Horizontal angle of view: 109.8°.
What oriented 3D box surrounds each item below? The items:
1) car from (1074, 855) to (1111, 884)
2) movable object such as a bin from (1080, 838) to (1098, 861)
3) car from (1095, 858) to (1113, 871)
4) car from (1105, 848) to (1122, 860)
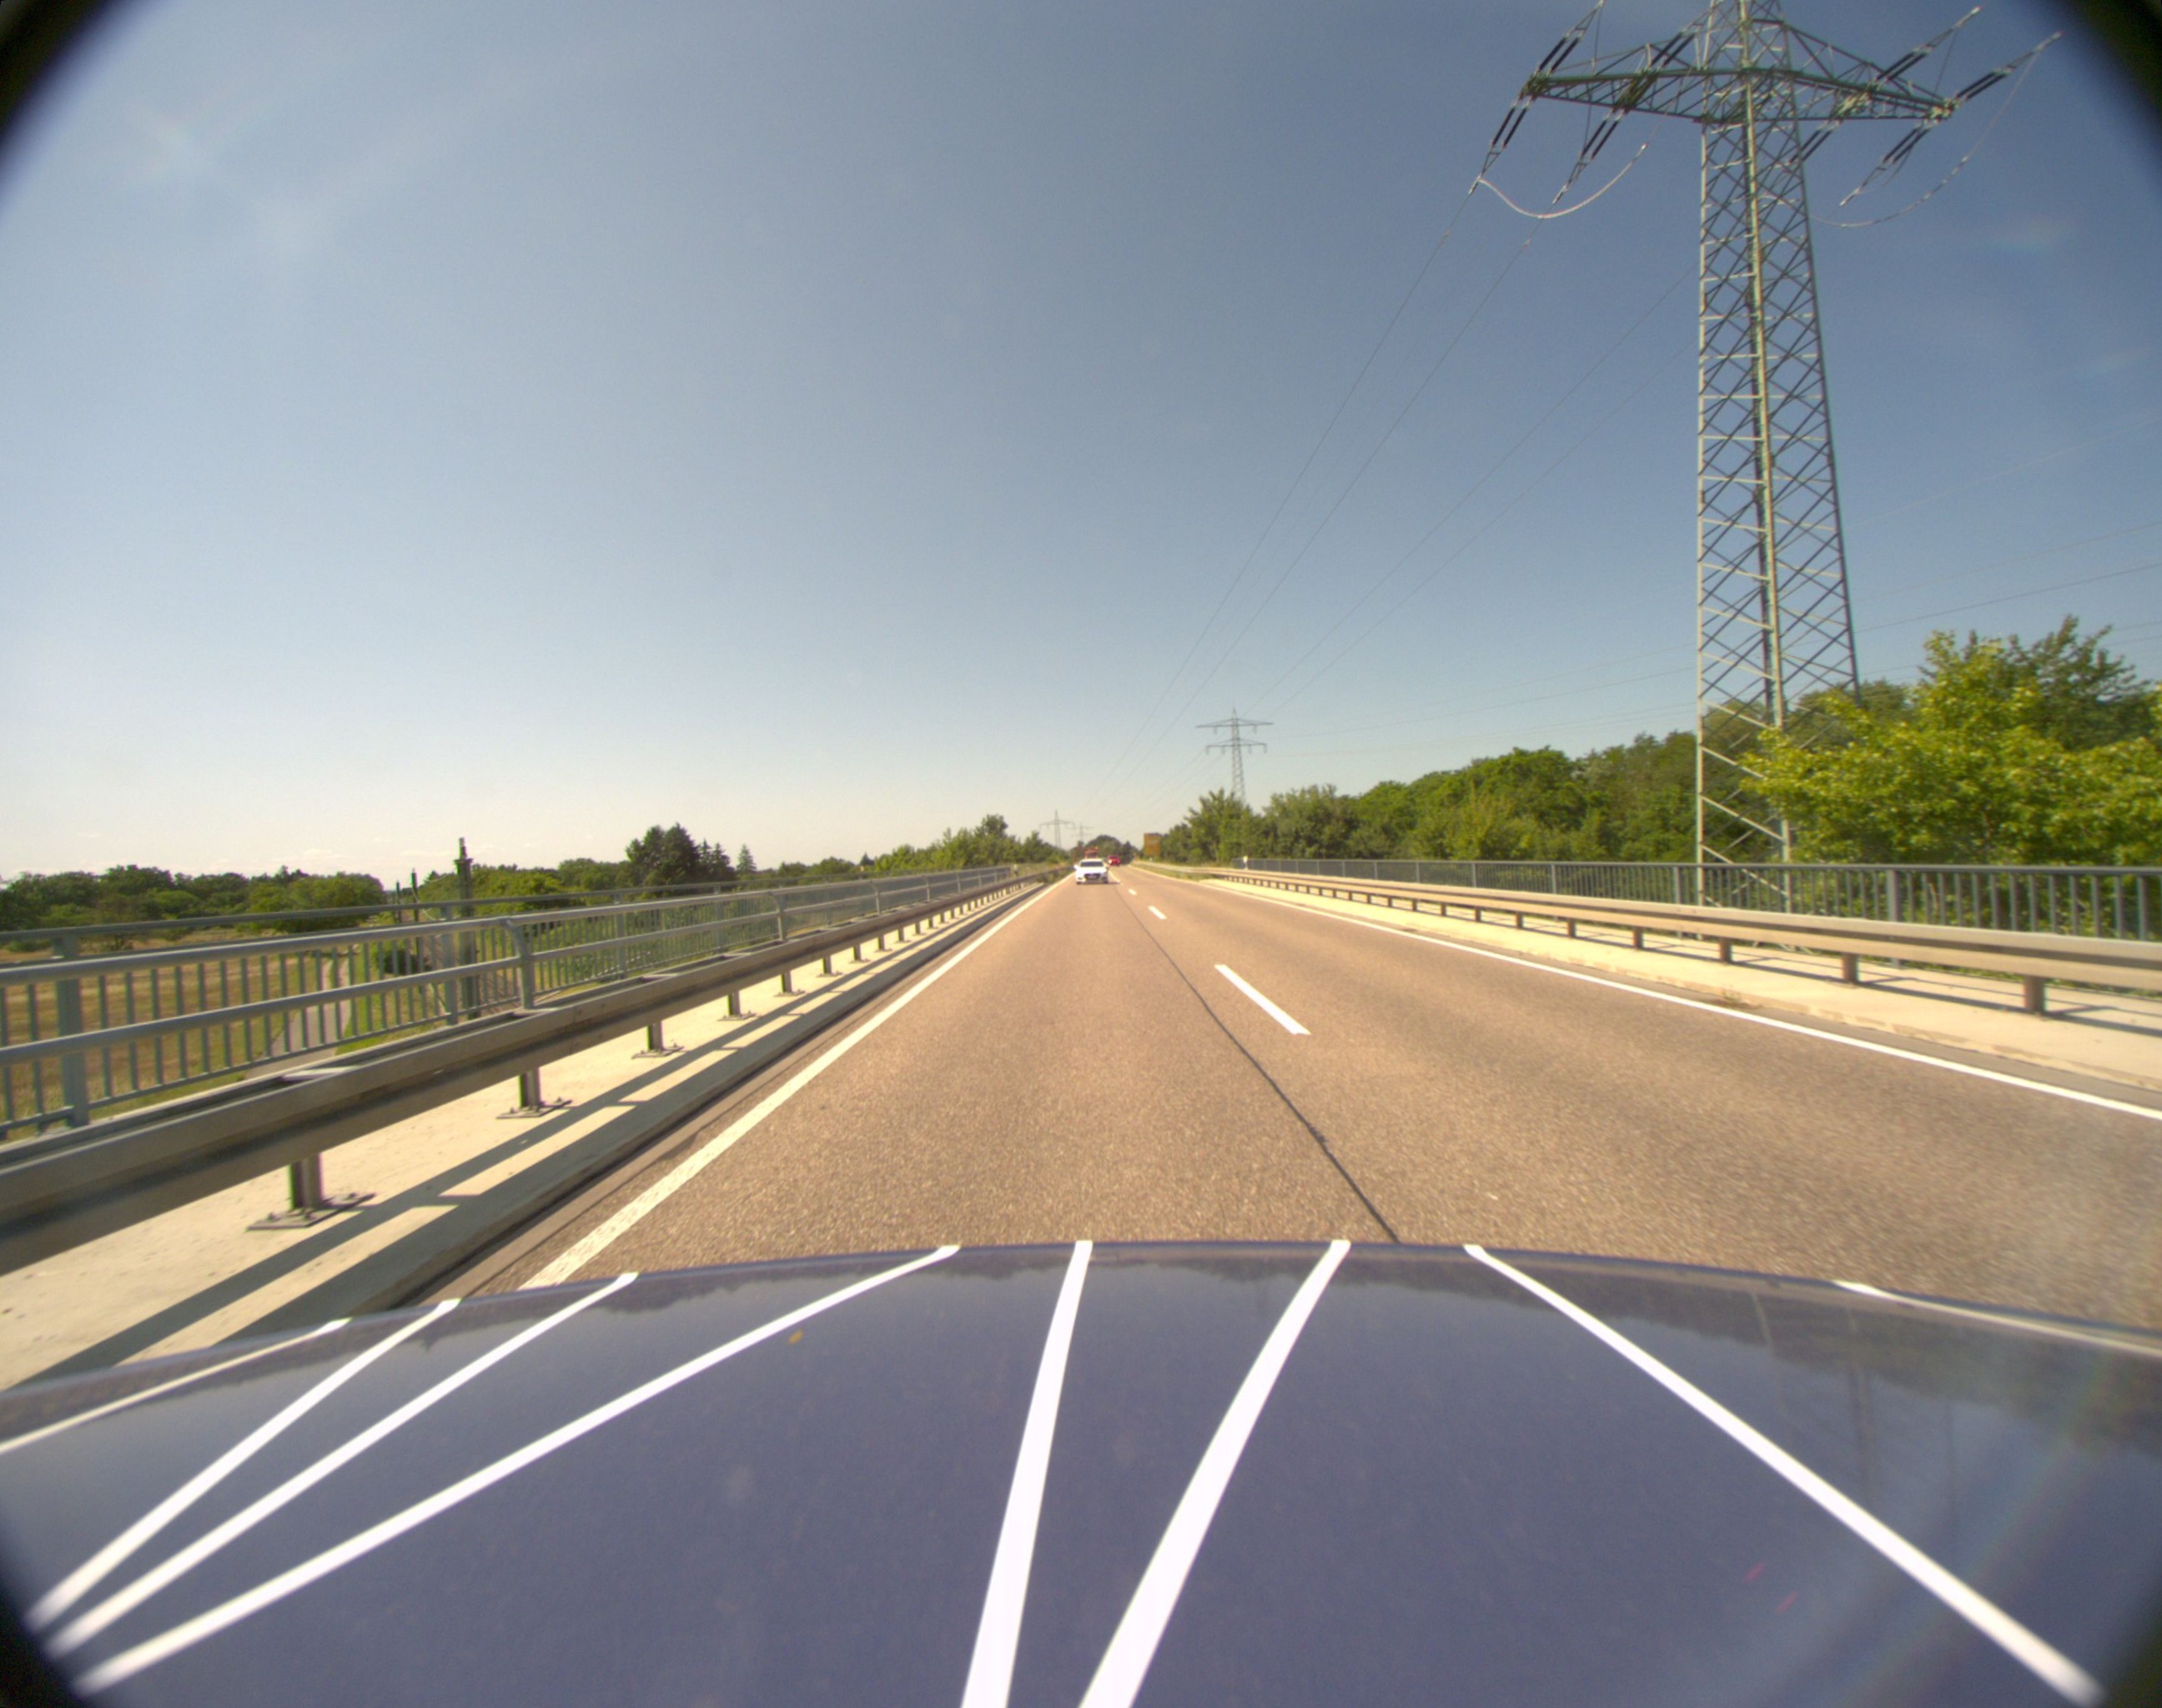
[{"bbox_3d":[0.632,0.835,43.281,1.923,1.496,4.793,-2,0,0],"label":"car"},{"bbox_3d":[1.408,-0.707,131.988,2.760,3.816,9.446,-2,0,2],"label":"movable object such as a bin"},{"bbox_3d":[2.919,1.373,97.011,1.922,1.539,4.795,-2,0,5],"label":"car"},{"bbox_3d":[5.724,0.058,134.659,2.127,1.934,5.016,-2,0,-6],"label":"car"}]
